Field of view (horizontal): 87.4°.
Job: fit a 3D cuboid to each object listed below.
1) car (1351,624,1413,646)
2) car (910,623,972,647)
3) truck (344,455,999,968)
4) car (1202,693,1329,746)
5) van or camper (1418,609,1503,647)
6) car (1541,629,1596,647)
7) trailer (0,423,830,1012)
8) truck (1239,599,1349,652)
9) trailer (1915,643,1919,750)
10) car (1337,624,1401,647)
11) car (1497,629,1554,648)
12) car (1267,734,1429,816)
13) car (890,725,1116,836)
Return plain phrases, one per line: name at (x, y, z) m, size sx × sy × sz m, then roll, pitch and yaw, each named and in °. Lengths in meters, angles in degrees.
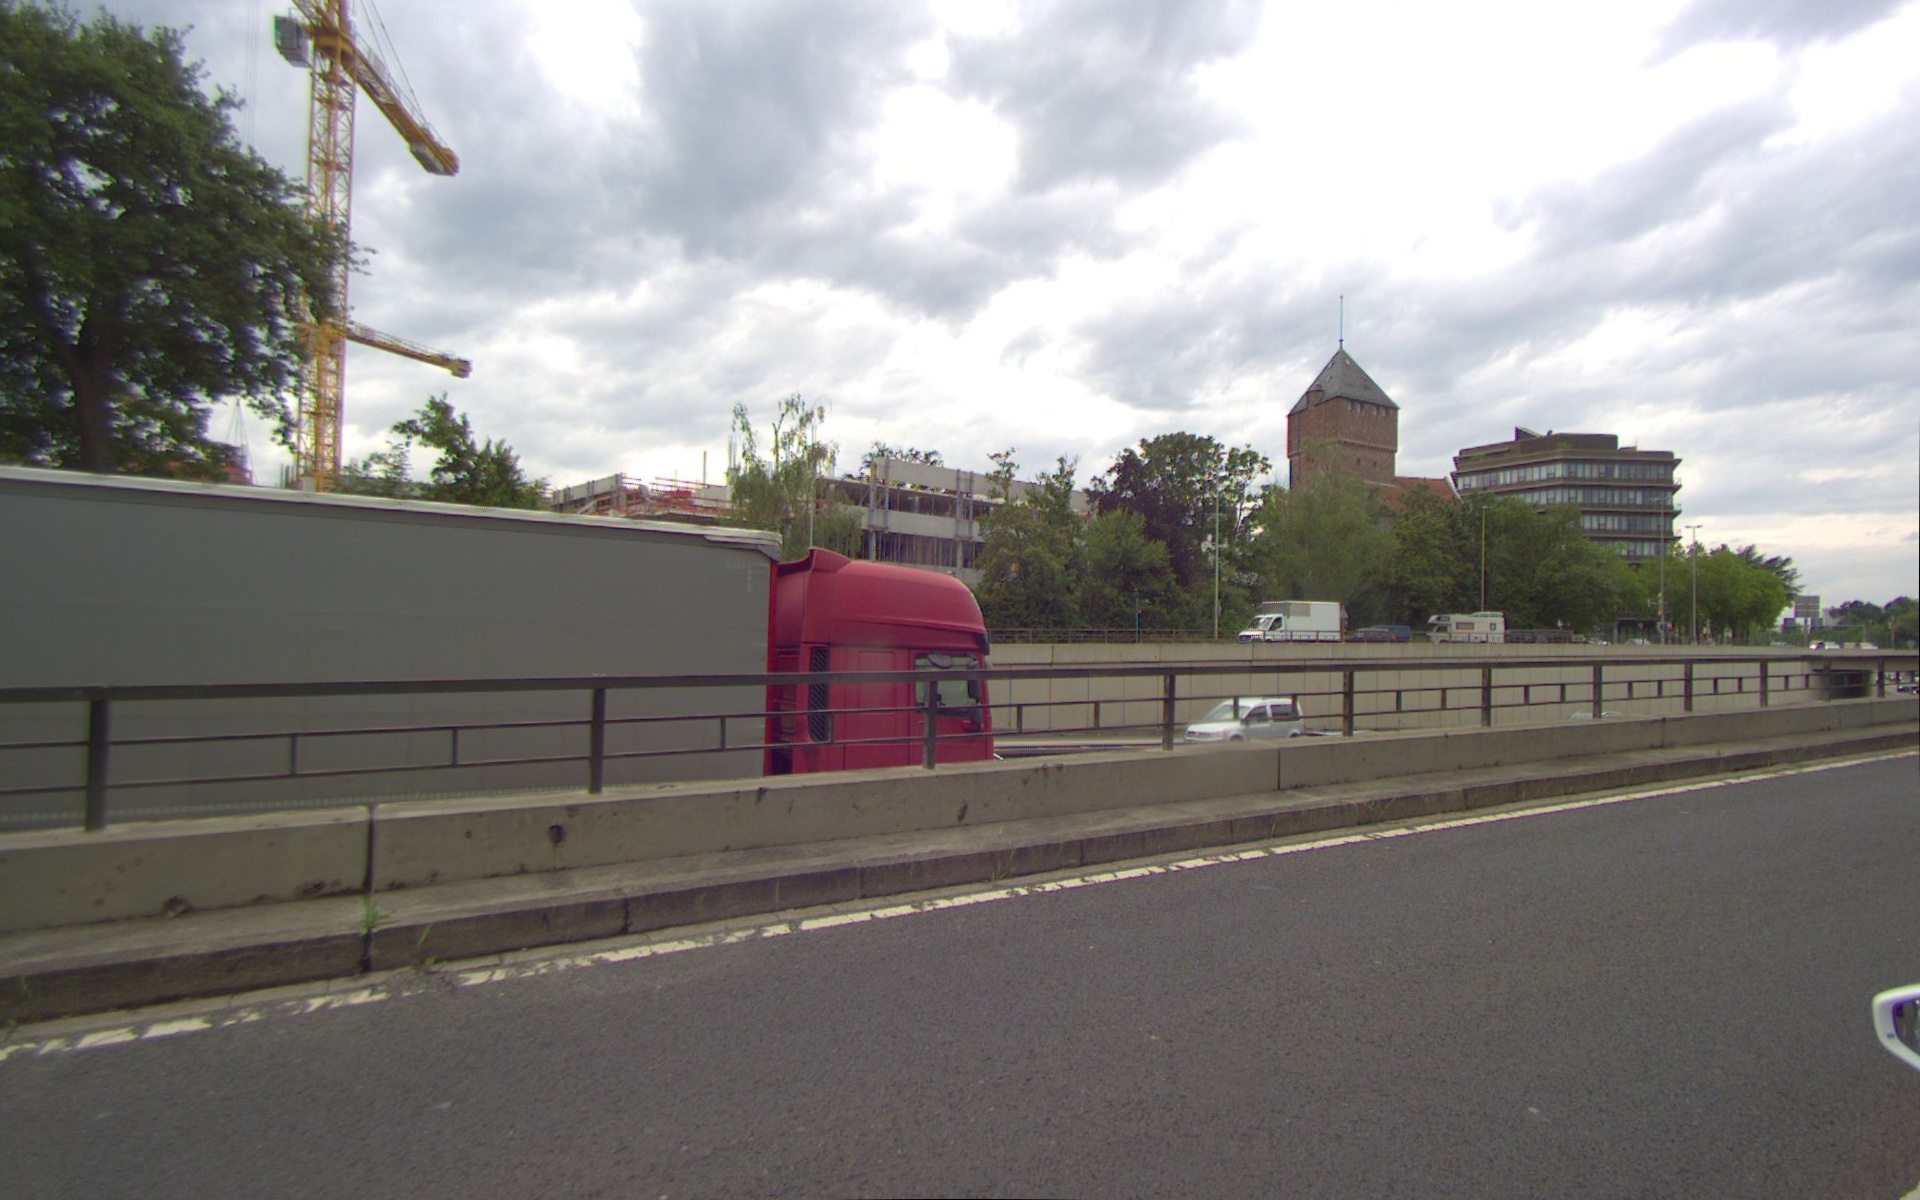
car at (31.330, 2.614, 74.609) m, size 3.919 × 1.460 × 1.630 m, roll 2°, pitch 0°, yaw 9°
car at (-1.310, 2.410, 69.528) m, size 3.920 × 1.460 × 1.629 m, roll 2°, pitch 0°, yaw 16°
truck at (-2.886, 1.013, 10.765) m, size 6.131 × 4.089 × 2.692 m, roll 2°, pitch -2°, yaw -31°
car at (9.797, 3.778, 32.127) m, size 4.059 × 1.460 × 1.615 m, roll 3°, pitch -3°, yaw -32°
van or camper at (40.463, 2.270, 81.326) m, size 5.805 × 2.847 × 2.147 m, roll 2°, pitch 0°, yaw 15°
car at (55.633, 3.476, 91.880) m, size 3.919 × 1.460 × 1.630 m, roll 2°, pitch 0°, yaw 9°
trailer at (-8.180, 0.809, 7.623) m, size 14.387 × 4.089 × 2.639 m, roll 2°, pitch -2°, yaw -31°
truck at (20.326, 1.586, 60.992) m, size 7.007 × 3.026 × 2.009 m, roll 2°, pitch 0°, yaw -27°
trailer at (43.941, 3.915, 41.419) m, size 15.830 × 4.089 × 2.836 m, roll 2°, pitch -2°, yaw -32°
car at (29.365, 2.547, 72.197) m, size 3.919 × 1.460 × 1.630 m, roll 2°, pitch 0°, yaw 9°
car at (49.164, 3.325, 87.378) m, size 3.919 × 1.460 × 1.630 m, roll 2°, pitch 0°, yaw 9°
car at (9.580, 4.248, 24.750) m, size 3.850 × 1.549 × 1.648 m, roll 2°, pitch -1°, yaw -30°
car at (0.822, 3.229, 18.457) m, size 3.850 × 1.549 × 1.648 m, roll 2°, pitch -1°, yaw -30°
